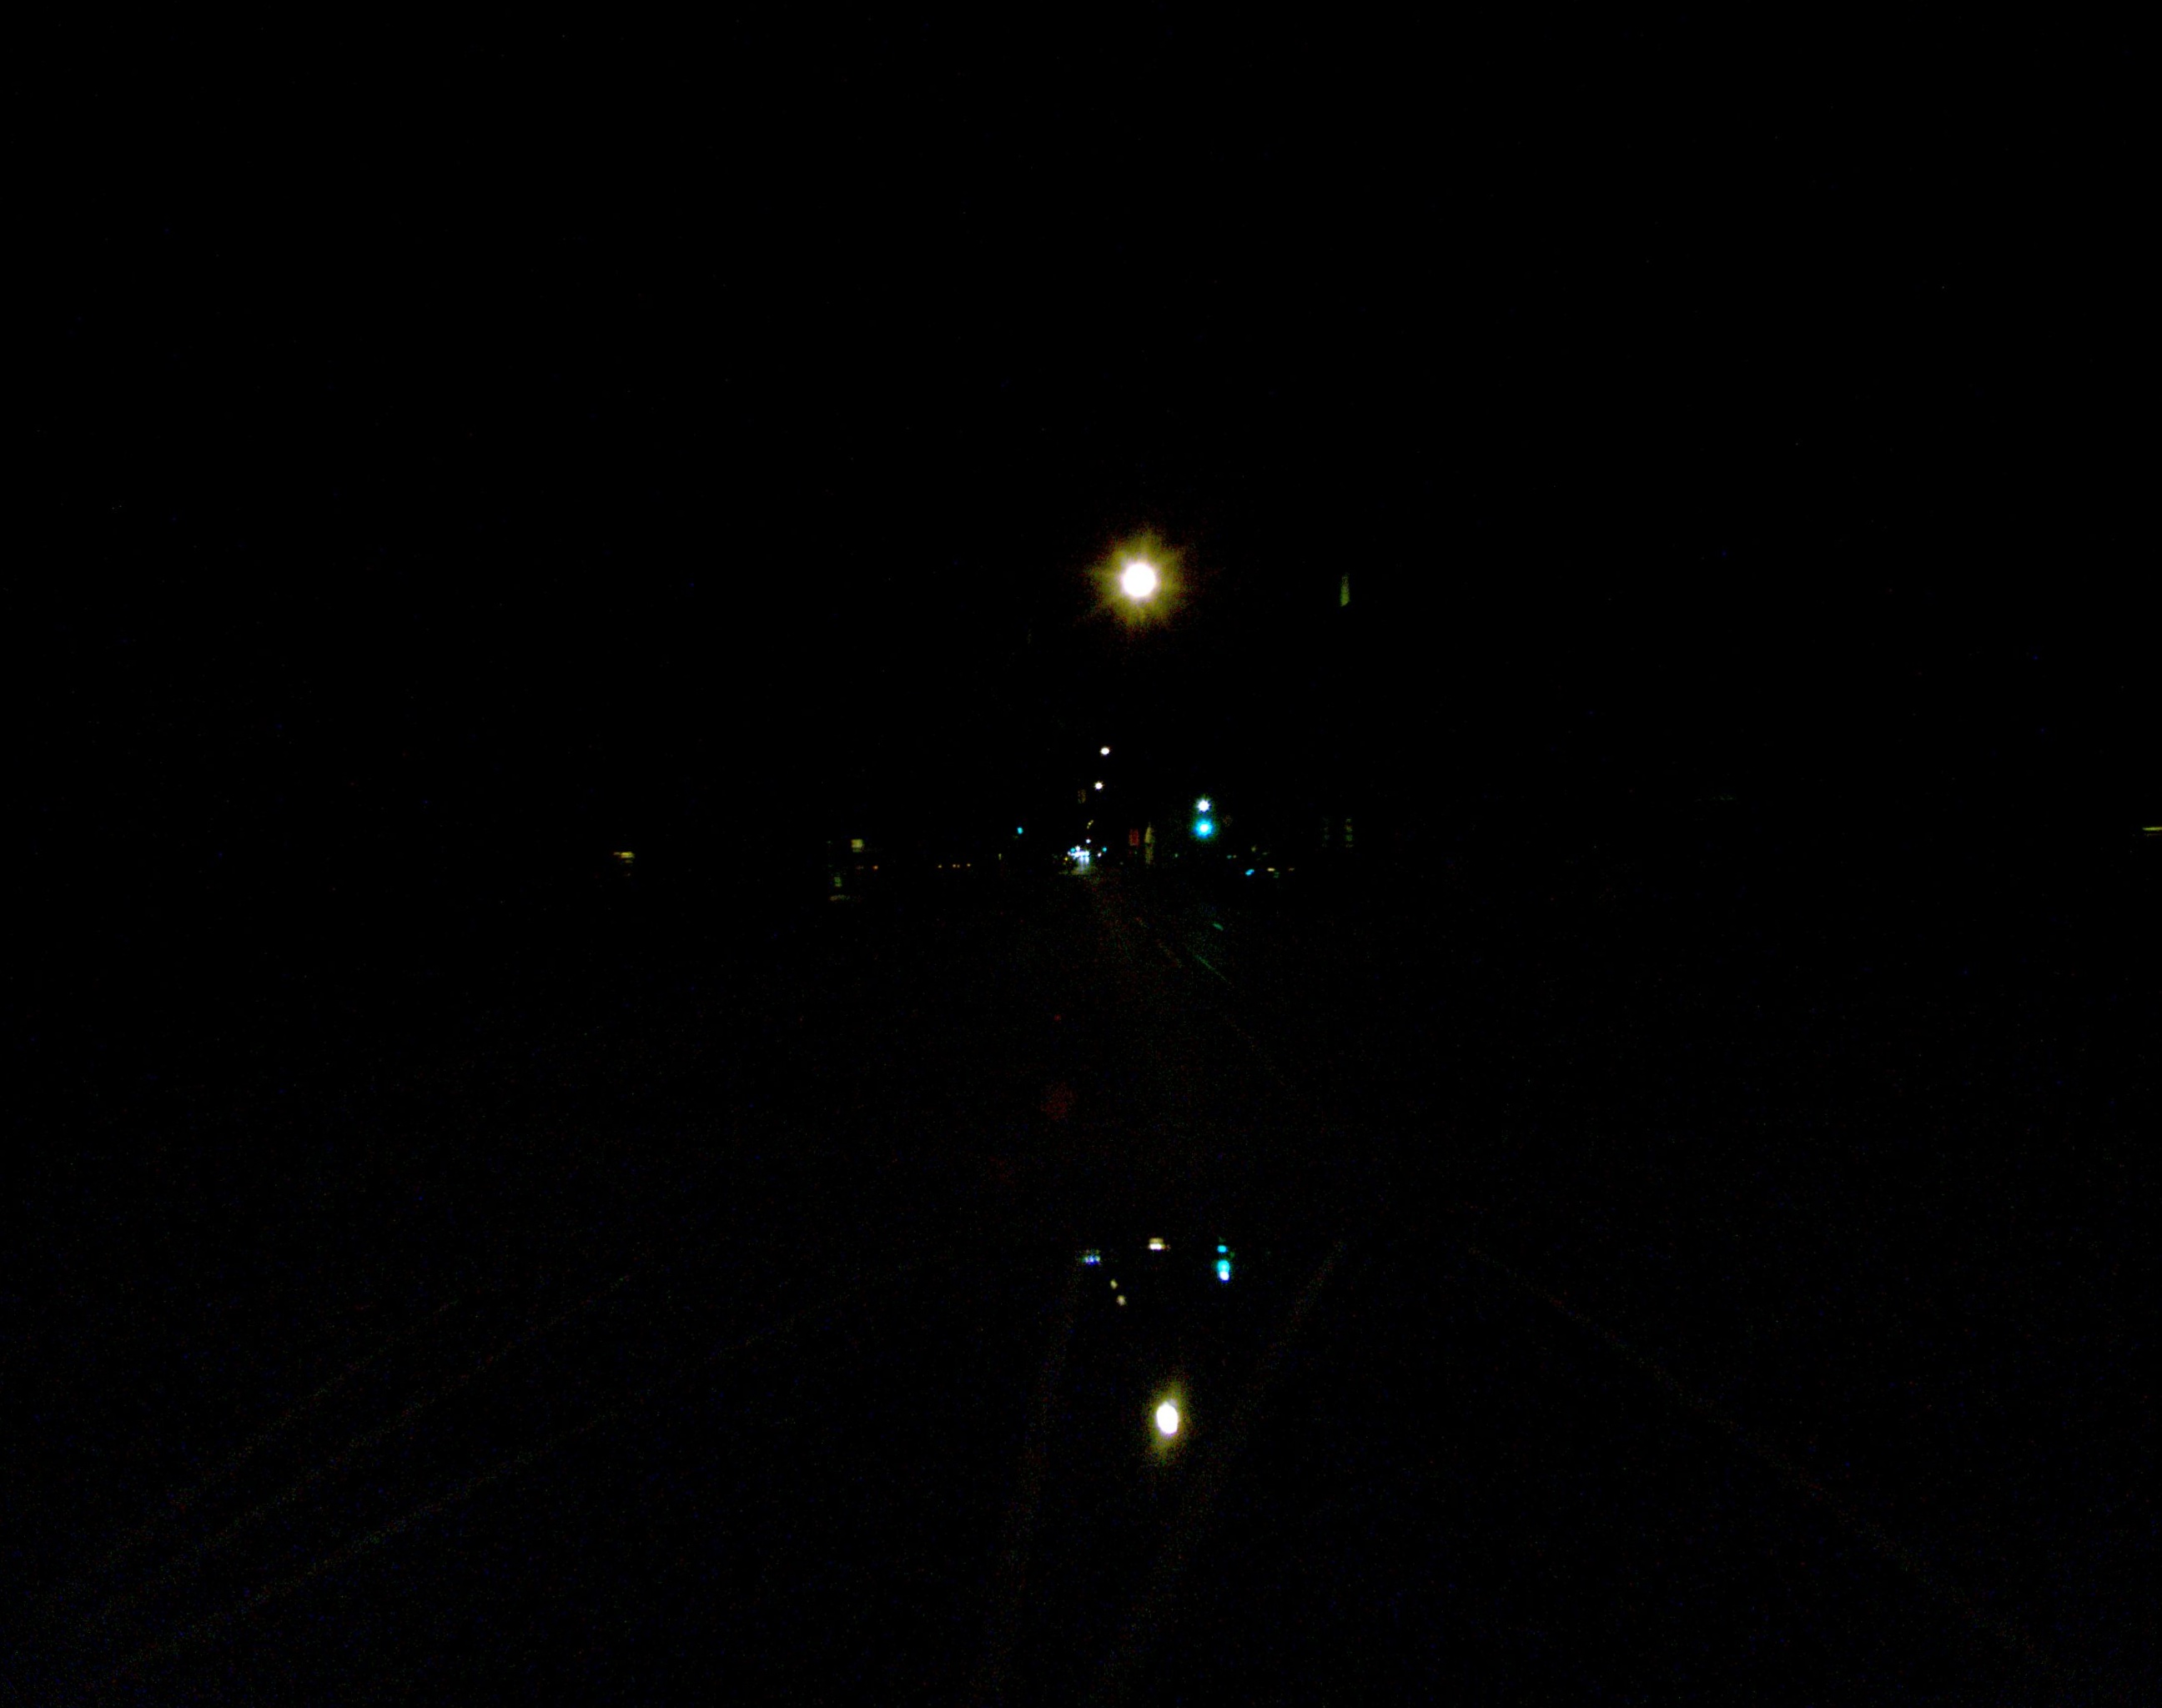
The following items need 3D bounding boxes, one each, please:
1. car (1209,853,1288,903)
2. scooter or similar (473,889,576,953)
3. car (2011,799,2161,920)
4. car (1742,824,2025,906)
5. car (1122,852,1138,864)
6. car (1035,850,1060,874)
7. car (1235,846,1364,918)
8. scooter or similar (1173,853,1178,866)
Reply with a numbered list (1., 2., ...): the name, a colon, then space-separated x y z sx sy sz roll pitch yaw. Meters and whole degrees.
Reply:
1. car: 5.660 0.760 26.043 1.652 1.506 3.700 -2 1 -3
2. scooter or similar: -11.508 1.352 15.775 0.499 1.139 1.669 1 2 25
3. car: 15.020 0.040 9.419 1.761 1.529 4.186 -5 1 0
4. car: 14.927 0.166 14.439 1.560 1.309 3.562 -2 1 -1
5. car: 6.258 0.520 97.635 1.731 1.477 4.291 -2 0 -1
6. car: -2.760 0.619 62.686 1.916 1.816 4.899 -1 0 -2
7. car: 5.698 0.681 20.492 1.853 1.640 4.670 -2 0 -3
8. scooter or similar: 8.946 0.509 71.956 0.332 1.218 1.335 -2 1 2
